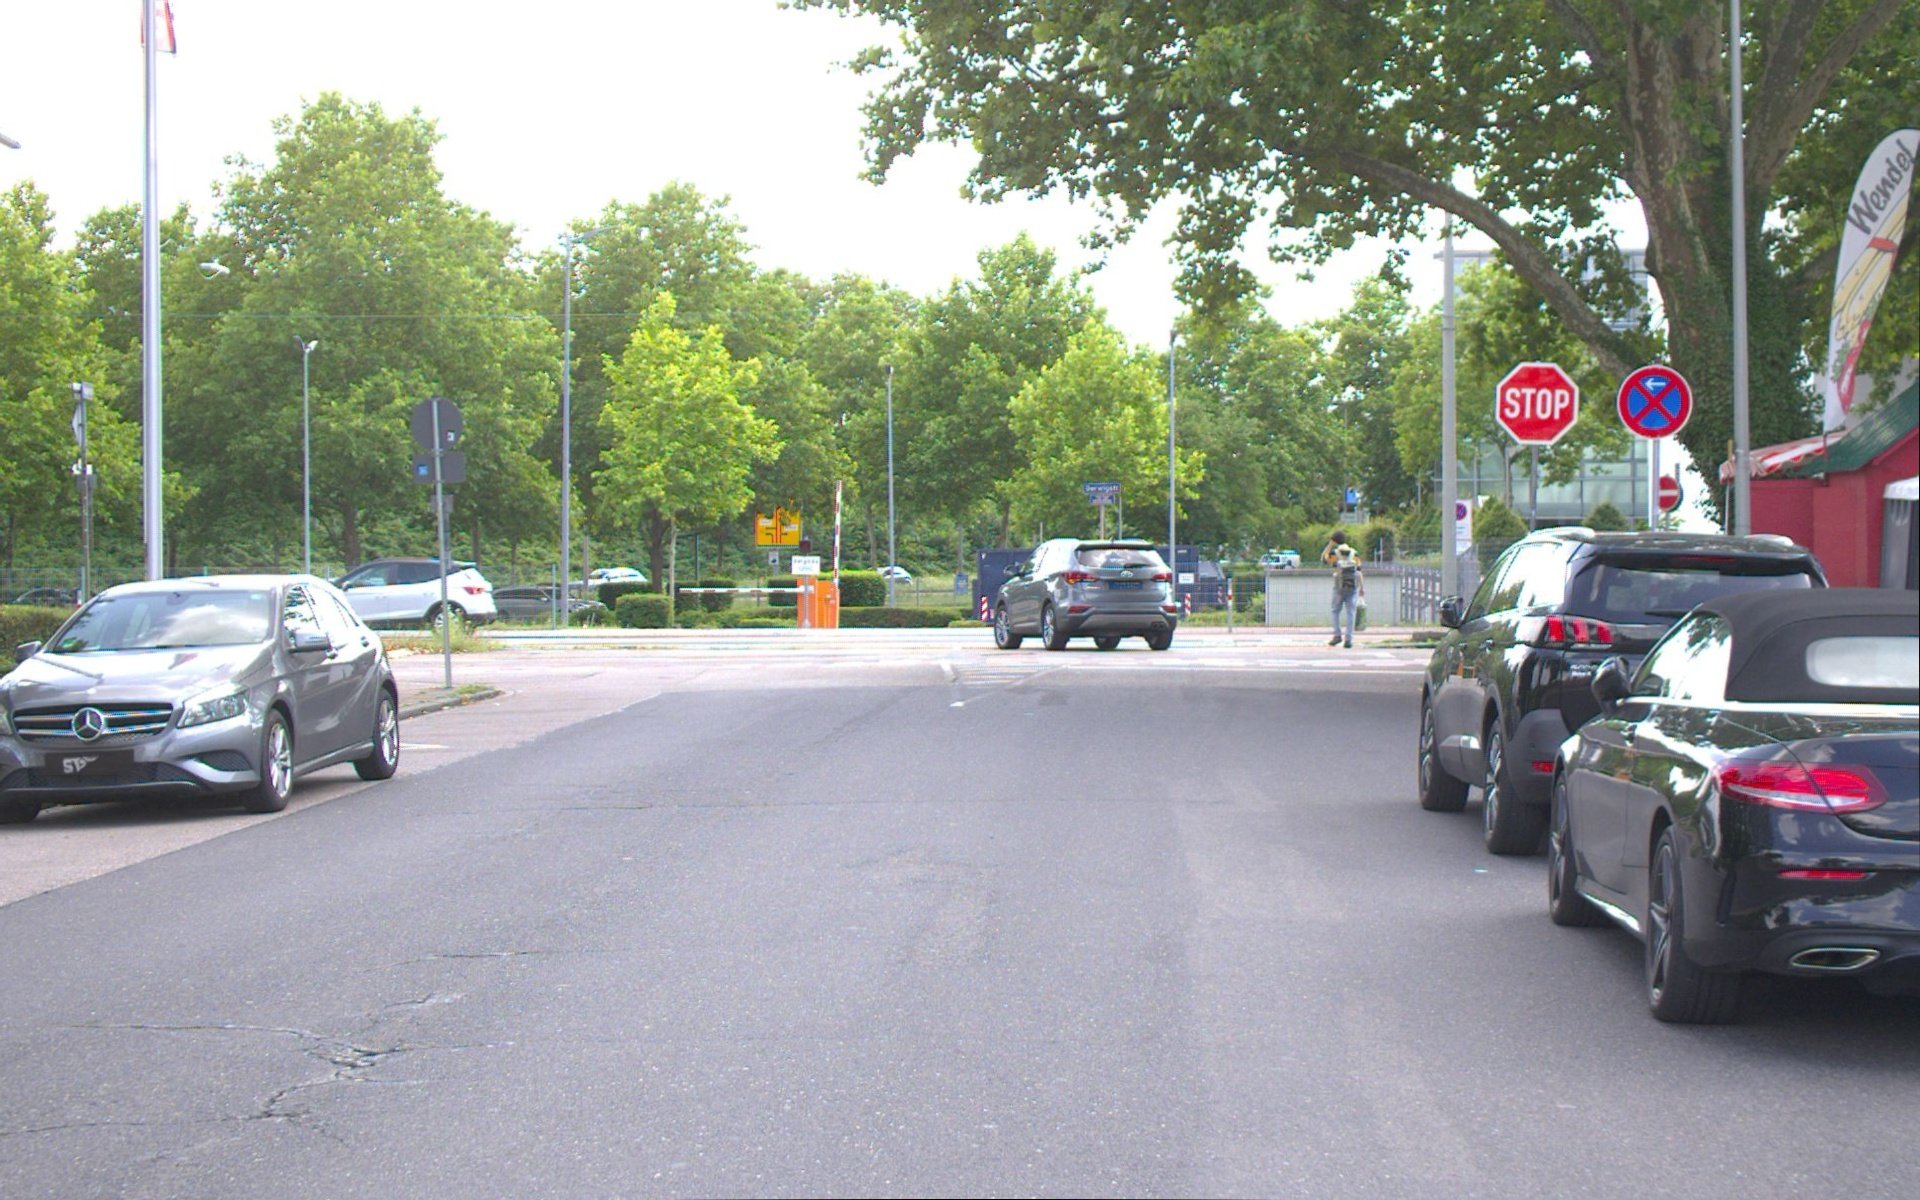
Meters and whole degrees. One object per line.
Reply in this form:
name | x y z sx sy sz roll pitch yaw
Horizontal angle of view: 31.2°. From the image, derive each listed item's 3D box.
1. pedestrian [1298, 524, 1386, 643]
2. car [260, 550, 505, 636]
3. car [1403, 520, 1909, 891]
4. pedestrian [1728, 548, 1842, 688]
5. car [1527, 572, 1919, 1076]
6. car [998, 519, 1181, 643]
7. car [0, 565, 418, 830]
pedestrian | 5.995 -0.265 54.034 1.000 1.843 1.230 0 1 -15
car | -10.727 -0.142 64.022 4.220 1.574 1.924 0 1 1
car | 3.549 0.446 18.385 1.808 1.659 4.640 2 1 2
pedestrian | 7.898 0.163 32.965 1.014 1.309 0.964 0 1 11
car | 3.175 0.654 12.228 1.808 1.386 4.587 3 1 4
car | 1.933 -0.324 52.609 1.961 1.809 4.277 0 1 -10
car | -4.805 0.543 21.790 1.710 1.415 4.330 -3 1 4
